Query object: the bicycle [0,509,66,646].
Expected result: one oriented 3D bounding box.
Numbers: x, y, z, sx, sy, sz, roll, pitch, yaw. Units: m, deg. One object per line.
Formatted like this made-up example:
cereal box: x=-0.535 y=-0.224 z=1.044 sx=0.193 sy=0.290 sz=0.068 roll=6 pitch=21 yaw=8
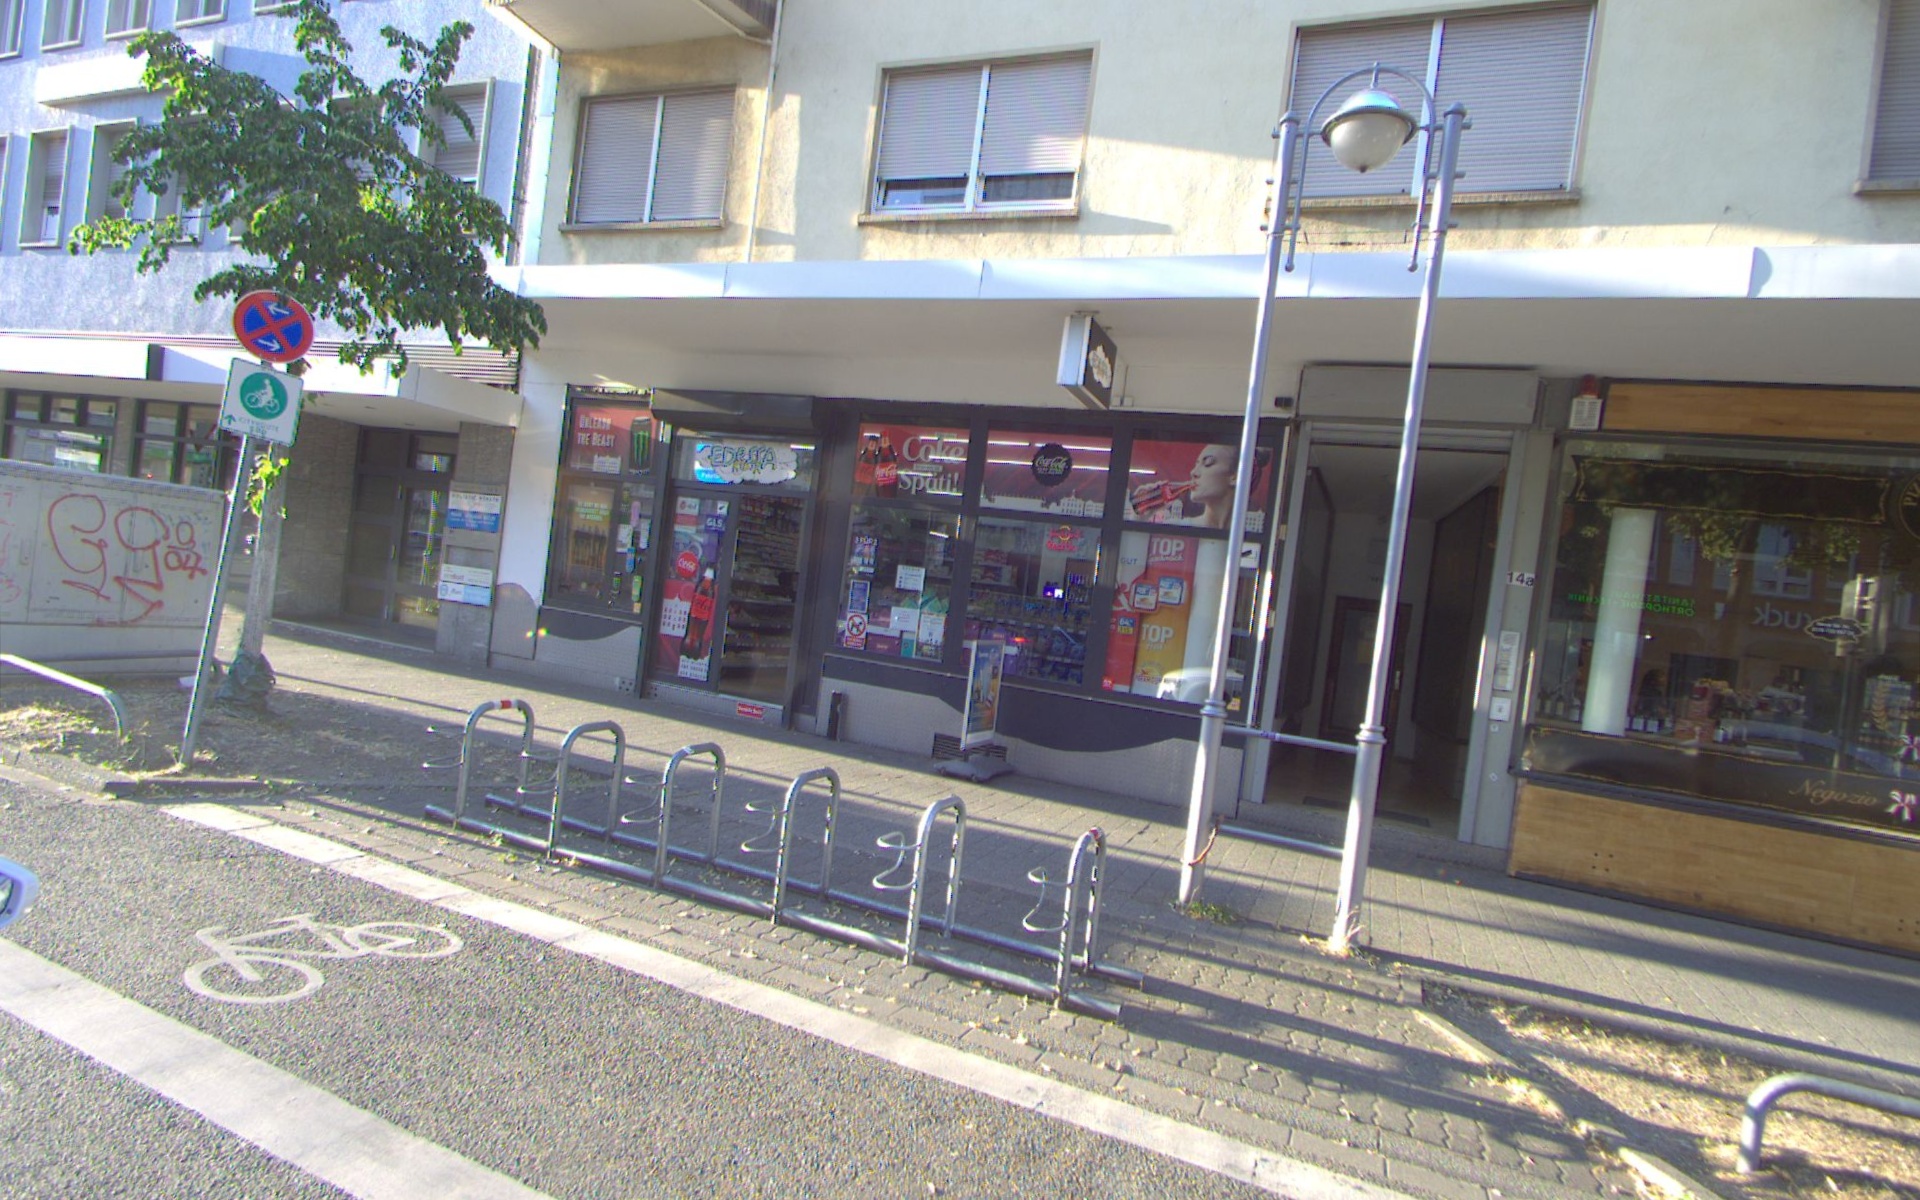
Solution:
bicycle: x=-9.097 y=-0.257 z=9.039 sx=0.376 sy=1.234 sz=1.446 roll=7 pitch=-1 yaw=25
